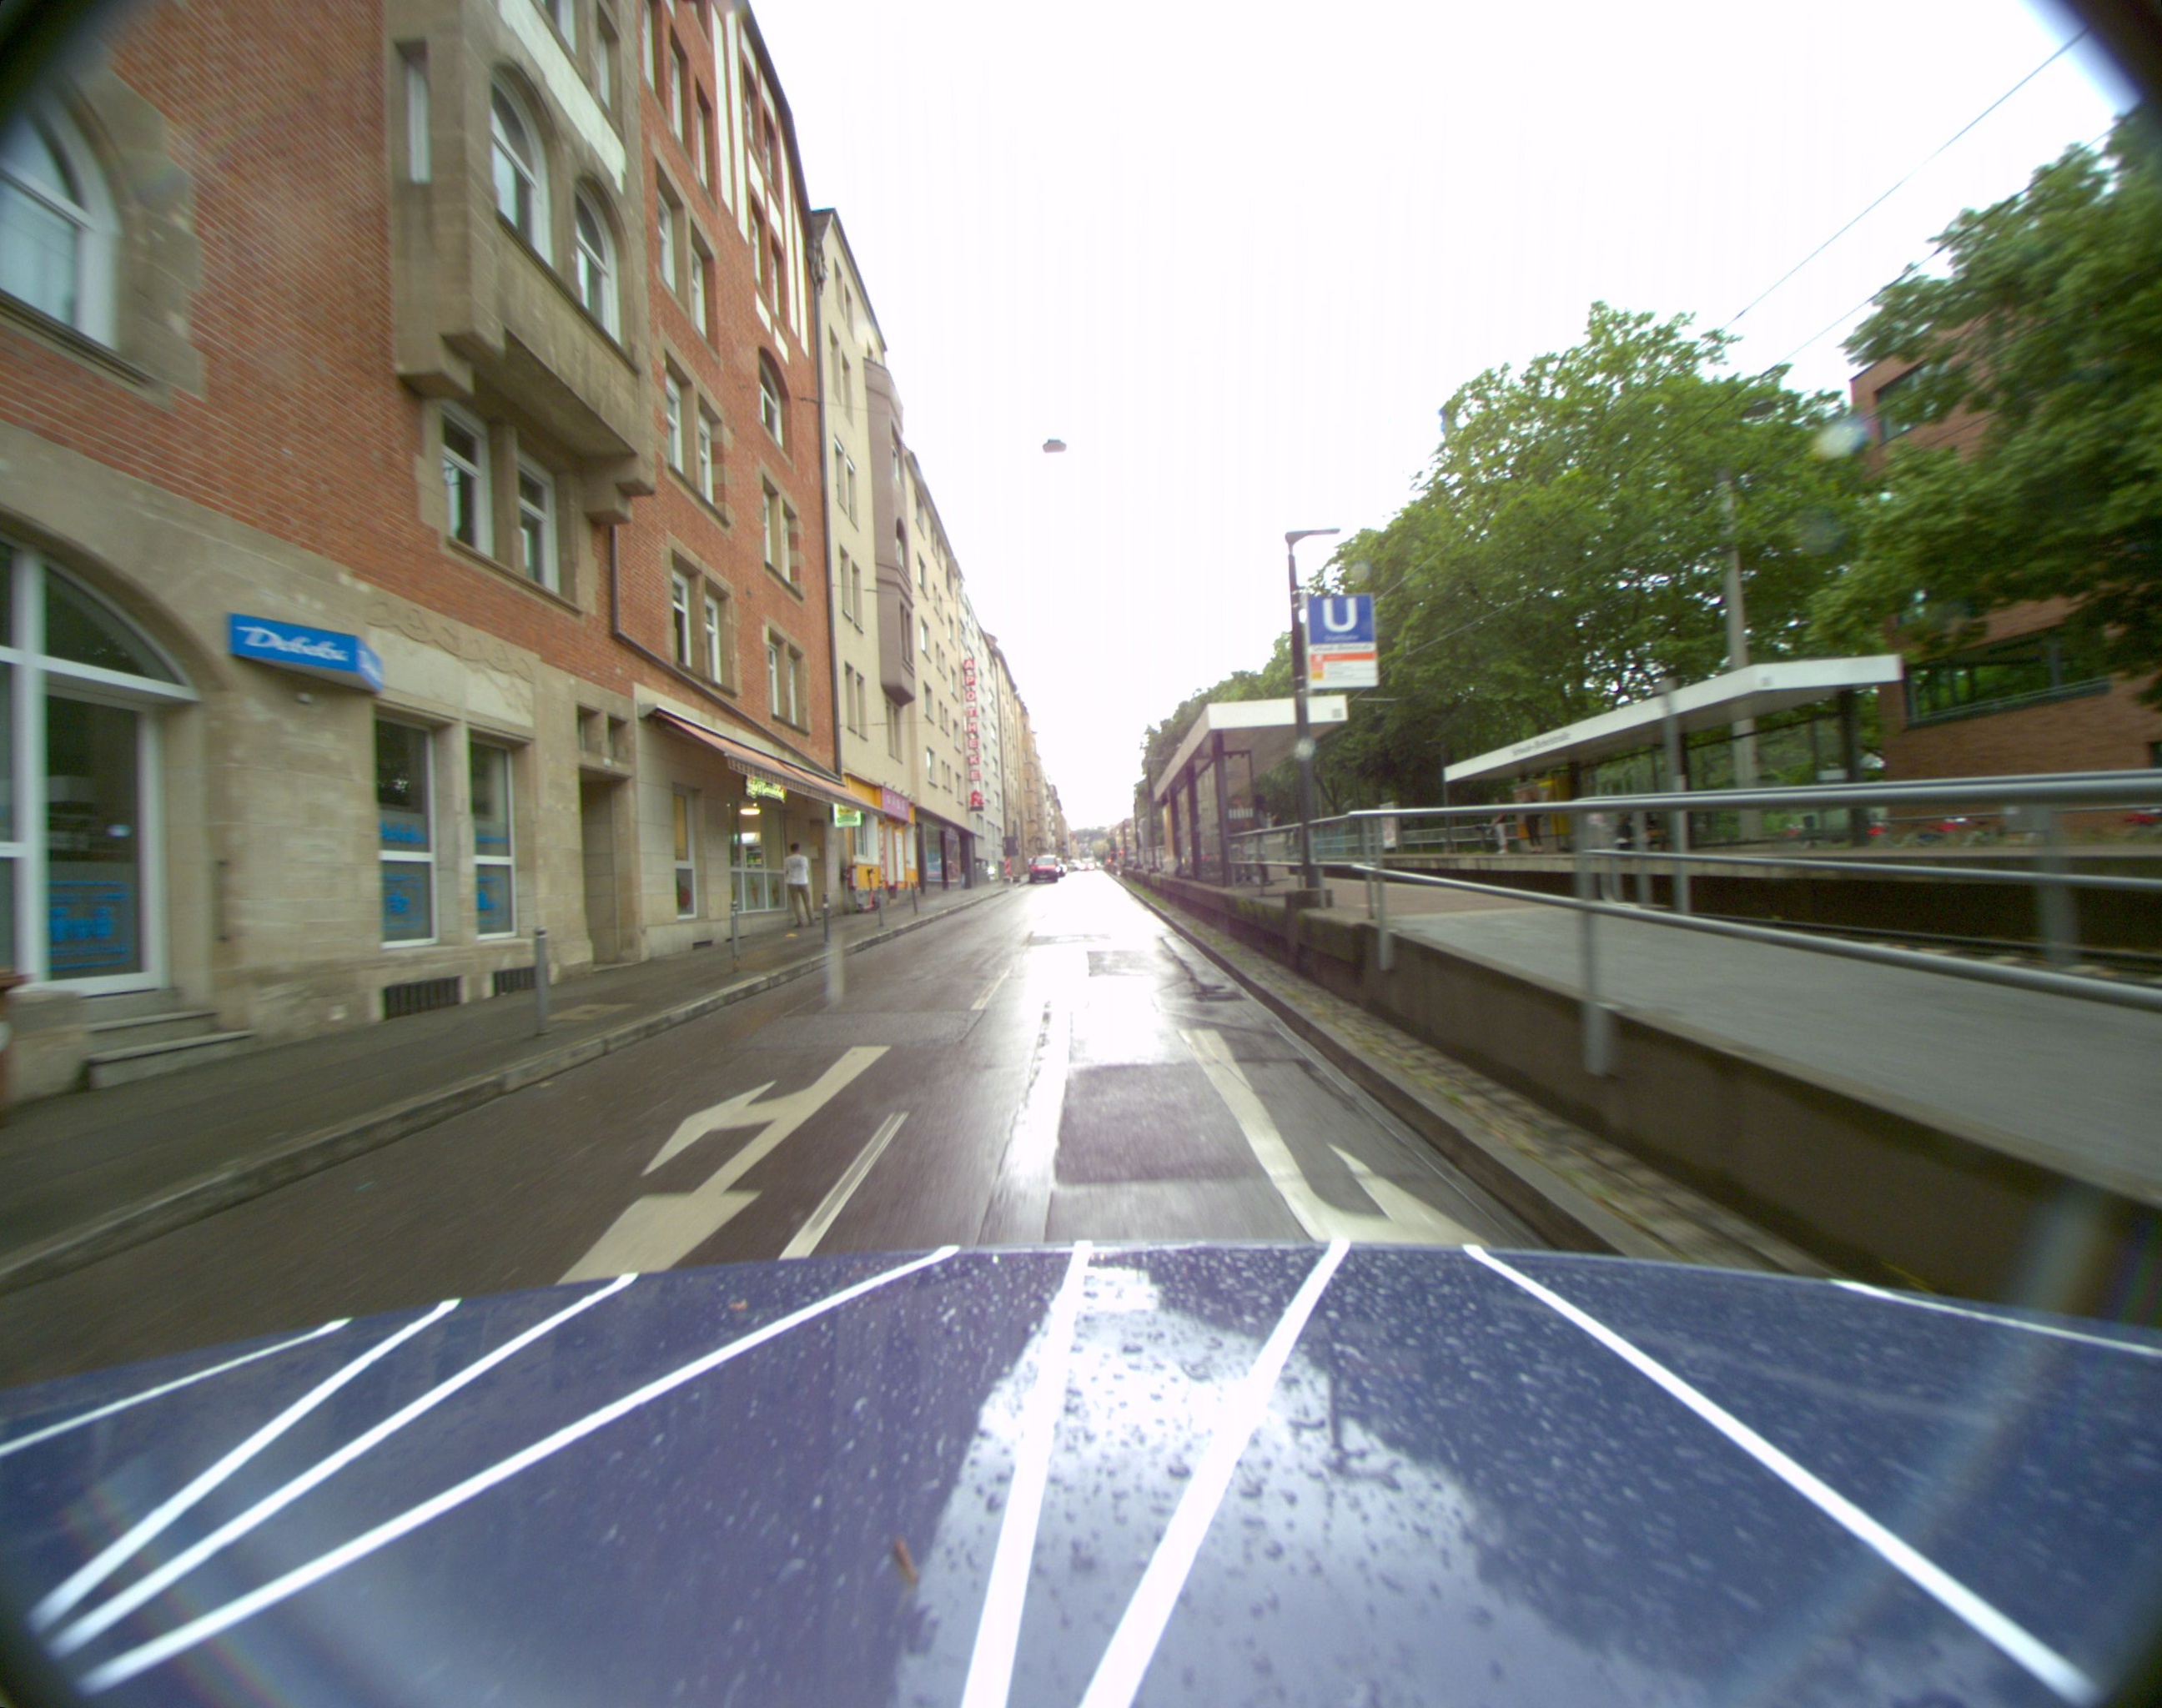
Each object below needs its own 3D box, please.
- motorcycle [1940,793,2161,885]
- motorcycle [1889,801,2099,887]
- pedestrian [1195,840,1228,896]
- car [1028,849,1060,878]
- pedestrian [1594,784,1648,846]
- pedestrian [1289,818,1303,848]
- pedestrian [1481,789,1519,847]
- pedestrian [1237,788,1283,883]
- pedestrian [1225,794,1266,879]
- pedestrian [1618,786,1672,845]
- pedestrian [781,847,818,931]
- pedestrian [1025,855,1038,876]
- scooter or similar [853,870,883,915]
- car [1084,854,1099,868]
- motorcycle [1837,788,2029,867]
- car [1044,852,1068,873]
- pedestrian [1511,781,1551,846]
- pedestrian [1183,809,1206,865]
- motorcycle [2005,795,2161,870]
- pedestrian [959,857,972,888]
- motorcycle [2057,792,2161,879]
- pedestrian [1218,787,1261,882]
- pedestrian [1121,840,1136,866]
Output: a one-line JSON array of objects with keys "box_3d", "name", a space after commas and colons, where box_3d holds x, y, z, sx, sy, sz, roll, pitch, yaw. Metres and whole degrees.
[{"box_3d": [22.124, -0.345, 17.335, 3.874, 1.805, 1.006, -4, 1, -1], "name": "motorcycle"}, {"box_3d": [22.141, -0.234, 18.484, 3.874, 1.805, 1.006, -4, 1, -1], "name": "motorcycle"}, {"box_3d": [2.957, 0.315, 17.253, 0.615, 1.220, 0.507, -3, 1, 4], "name": "pedestrian"}, {"box_3d": [-2.483, 0.619, 52.695, 1.980, 1.827, 5.244, -3, 0, -1], "name": "car"}, {"box_3d": [12.558, -0.888, 17.691, 0.779, 1.354, 0.564, -4, 0, -1], "name": "pedestrian"}, {"box_3d": [12.283, -1.201, 43.453, 0.563, 1.631, 0.689, -4, 0, 7], "name": "pedestrian"}, {"box_3d": [12.232, -1.043, 22.177, 0.688, 1.631, 0.564, -4, 0, -1], "name": "pedestrian"}, {"box_3d": [3.091, -0.315, 13.136, 0.615, 1.572, 0.507, -3, 1, 4], "name": "pedestrian"}, {"box_3d": [3.155, -0.327, 14.616, 0.615, 1.572, 0.507, -3, 1, 4], "name": "pedestrian"}, {"box_3d": [12.671, -0.852, 17.085, 0.705, 1.233, 0.564, -4, 0, -1], "name": "pedestrian"}, {"box_3d": [-6.203, 0.749, 16.742, 0.580, 1.820, 0.562, -1, 2, -44], "name": "pedestrian"}, {"box_3d": [-4.231, 0.980, 65.148, 0.853, 1.747, 0.837, -4, 0, 1], "name": "pedestrian"}, {"box_3d": [-6.062, 1.086, 21.687, 0.258, 1.214, 1.196, -3, -1, 10], "name": "scooter or similar"}, {"box_3d": [1.263, 0.885, 92.989, 1.620, 1.592, 4.067, -3, -1, 0], "name": "car"}, {"box_3d": [22.157, -0.681, 19.810, 3.874, 1.763, 1.006, -4, 1, -1], "name": "motorcycle"}, {"box_3d": [-2.199, 0.748, 68.593, 1.770, 1.698, 4.500, -3, 0, 2], "name": "car"}, {"box_3d": [12.260, -1.096, 20.726, 0.564, 1.705, 0.706, -4, 0, -1], "name": "pedestrian"}, {"box_3d": [3.300, -0.484, 22.029, 0.496, 1.595, 0.637, -3, 1, 17], "name": "pedestrian"}, {"box_3d": [22.125, -0.488, 16.103, 3.874, 1.399, 1.006, -4, 1, -1], "name": "motorcycle"}, {"box_3d": [-6.246, 0.986, 41.143, 0.483, 1.635, 0.330, -4, 1, -24], "name": "pedestrian"}, {"box_3d": [21.748, -0.449, 14.909, 3.874, 1.596, 1.006, -4, 1, -1], "name": "motorcycle"}, {"box_3d": [2.927, -0.352, 14.044, 0.615, 1.678, 0.587, -3, 1, 4], "name": "pedestrian"}, {"box_3d": [3.289, -0.069, 52.570, 0.861, 1.788, 0.787, -4, 0, 0], "name": "pedestrian"}]
